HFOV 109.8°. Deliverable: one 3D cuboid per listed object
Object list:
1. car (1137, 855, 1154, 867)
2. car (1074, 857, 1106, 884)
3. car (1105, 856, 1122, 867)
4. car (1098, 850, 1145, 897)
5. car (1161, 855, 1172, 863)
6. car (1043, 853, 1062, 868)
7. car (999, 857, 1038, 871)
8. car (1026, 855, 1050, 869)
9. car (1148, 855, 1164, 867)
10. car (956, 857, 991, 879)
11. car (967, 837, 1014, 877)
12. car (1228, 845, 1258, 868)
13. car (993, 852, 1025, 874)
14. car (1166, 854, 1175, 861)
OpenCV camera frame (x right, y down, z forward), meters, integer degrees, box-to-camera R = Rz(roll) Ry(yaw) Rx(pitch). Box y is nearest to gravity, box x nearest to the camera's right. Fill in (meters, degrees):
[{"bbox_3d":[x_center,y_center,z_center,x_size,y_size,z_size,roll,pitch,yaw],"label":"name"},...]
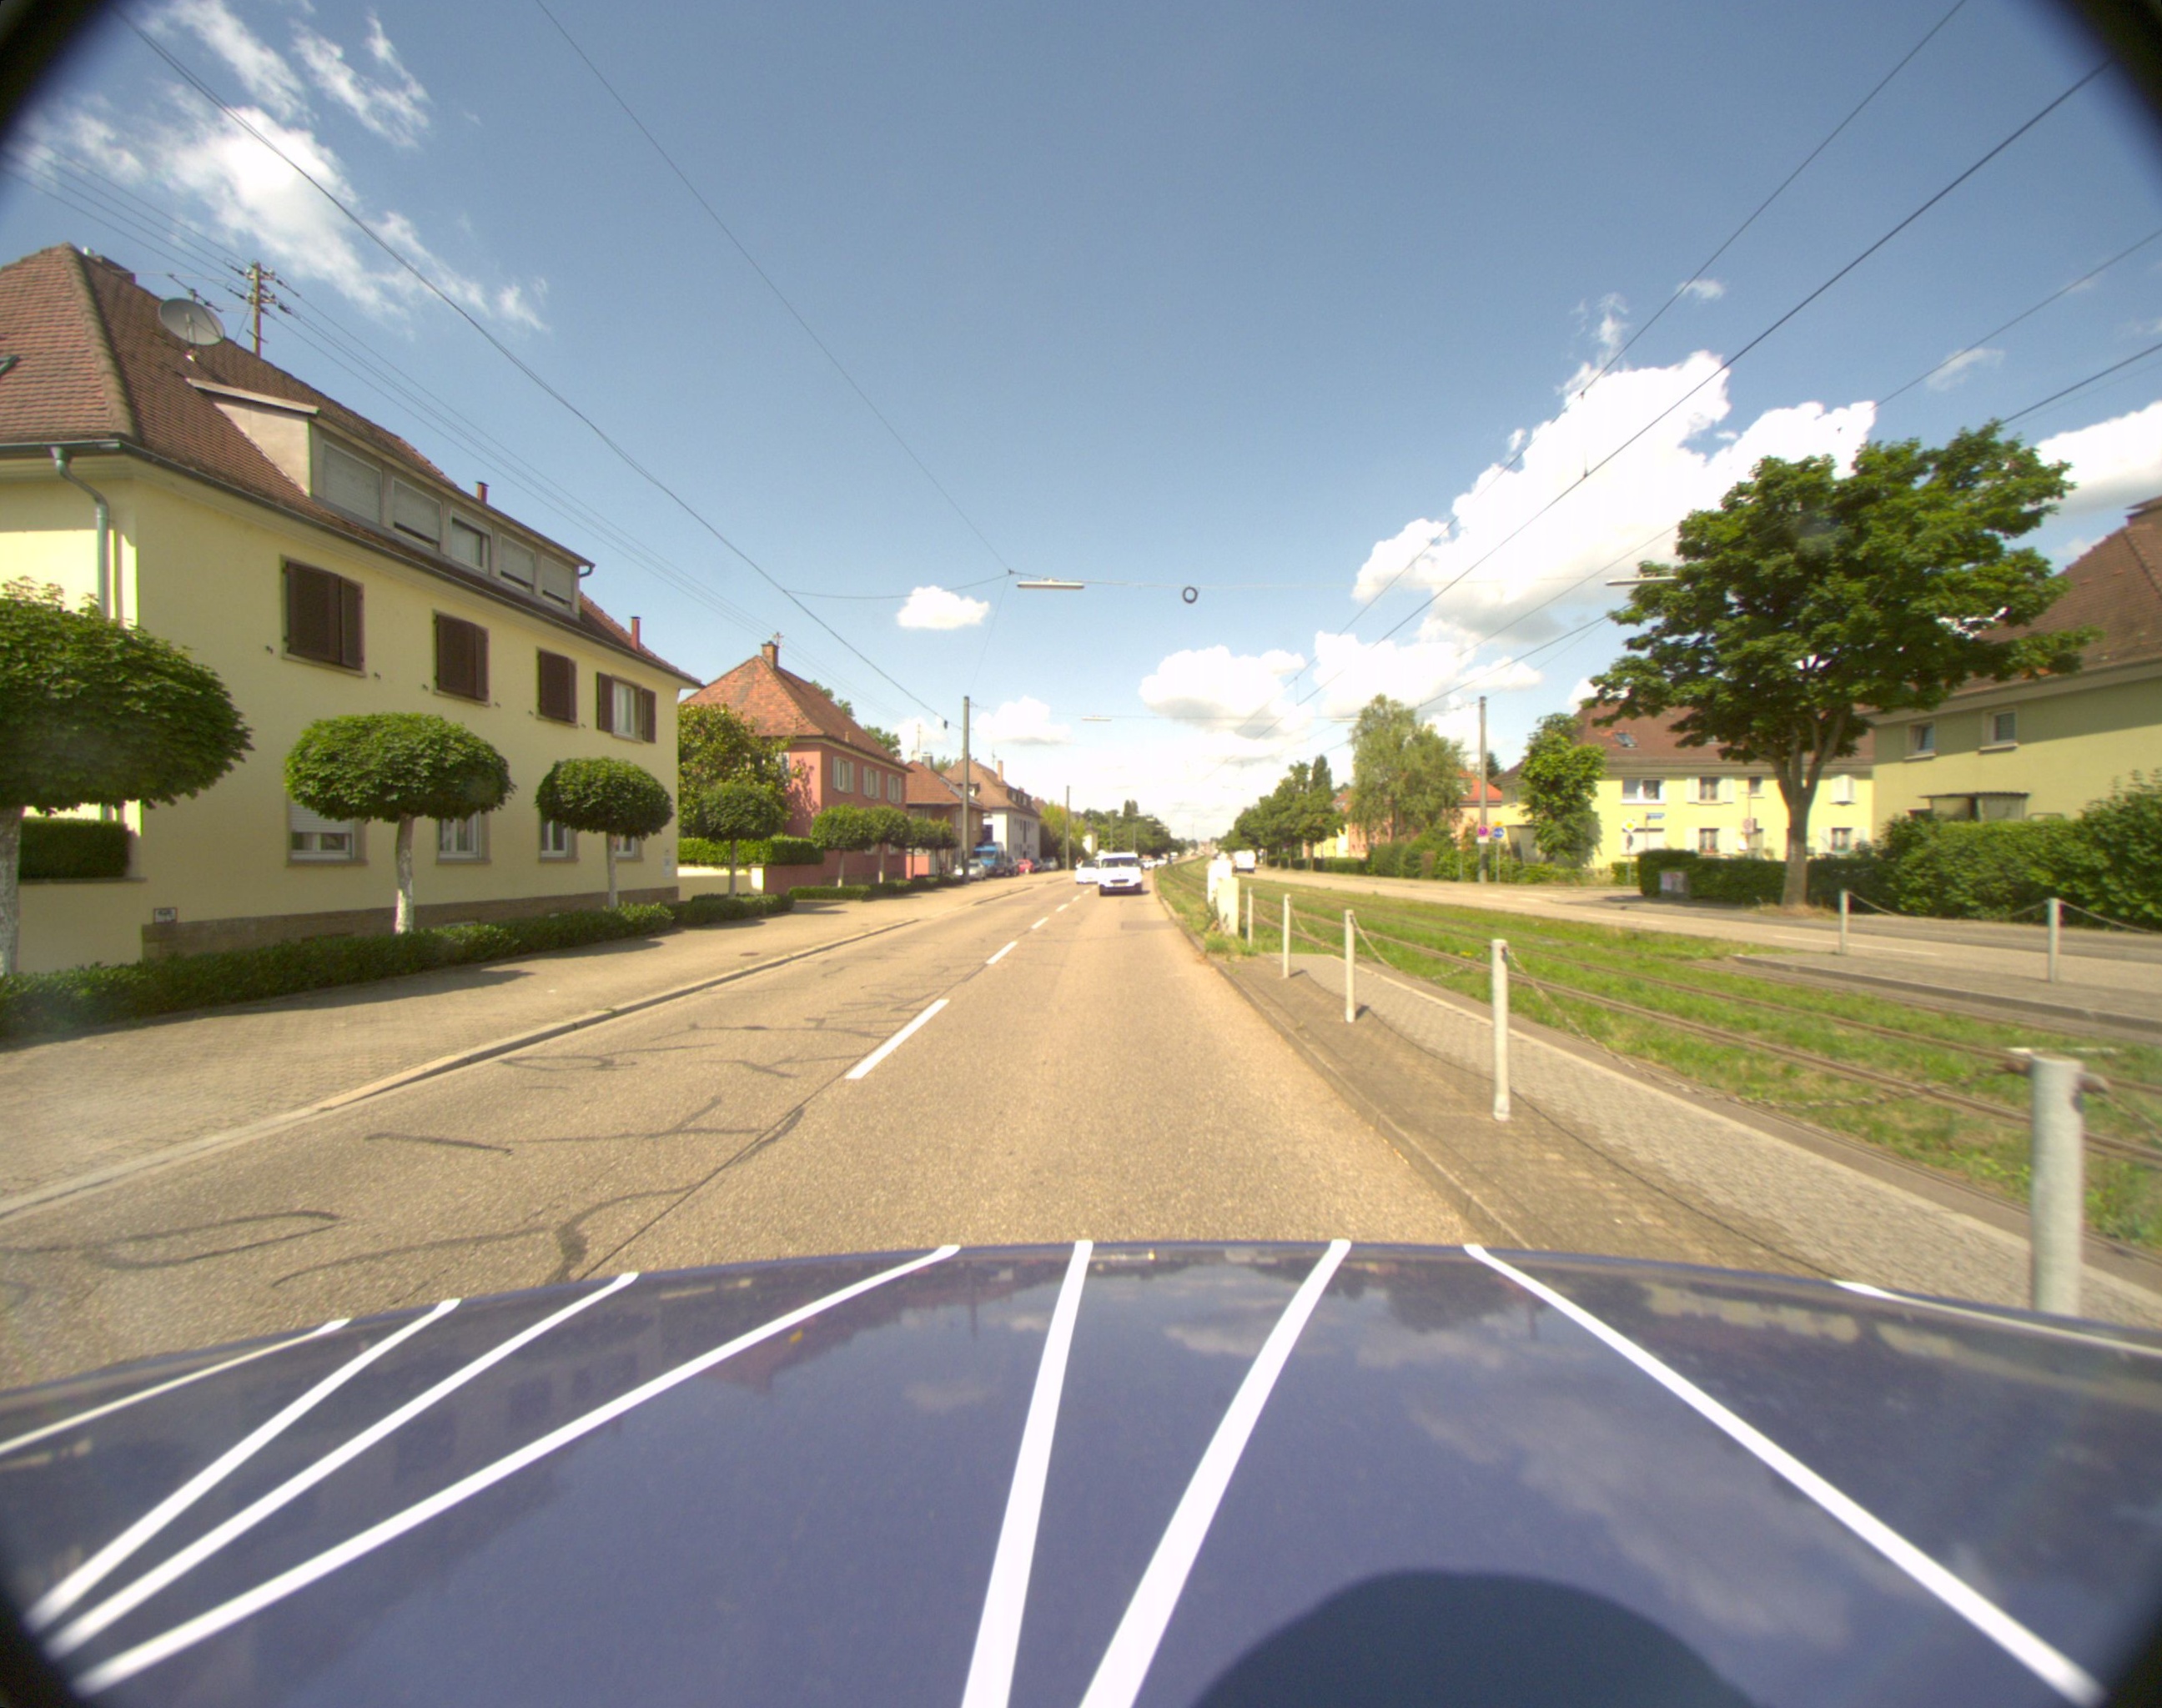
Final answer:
[{"bbox_3d":[8.225,0.867,96.827,1.997,1.477,4.002,-2,1,8],"label":"car"},{"bbox_3d":[0.609,1.015,48.276,1.777,1.540,4.001,-2,0,4],"label":"car"},{"bbox_3d":[4.627,1.004,106.141,1.903,1.435,5.061,-2,0,8],"label":"car"},{"bbox_3d":[1.762,0.768,32.257,1.777,1.850,4.376,-1,0,4],"label":"car"},{"bbox_3d":[17.483,0.959,155.654,1.997,1.477,4.002,-2,1,8],"label":"car"},{"bbox_3d":[-3.410,0.780,91.005,1.760,1.637,4.770,1,1,4],"label":"car"},{"bbox_3d":[-6.175,0.973,75.452,3.657,1.372,1.727,-1,1,4],"label":"car"},{"bbox_3d":[-4.575,0.873,81.105,1.802,1.415,4.859,1,0,6],"label":"car"},{"bbox_3d":[10.821,1.040,109.220,1.997,1.576,4.002,-2,1,9],"label":"car"},{"bbox_3d":[-7.309,0.926,52.038,1.653,1.401,4.350,0,1,1],"label":"car"},{"bbox_3d":[-6.935,0.197,58.925,2.156,2.913,6.246,-2,1,6],"label":"car"},{"bbox_3d":[17.284,0.247,81.315,2.201,2.358,5.332,1,1,2],"label":"car"},{"bbox_3d":[-6.129,0.749,65.135,1.840,1.701,4.866,2,0,5],"label":"car"},{"bbox_3d":[20.291,0.760,171.852,1.997,1.477,4.002,-2,1,8],"label":"car"}]
